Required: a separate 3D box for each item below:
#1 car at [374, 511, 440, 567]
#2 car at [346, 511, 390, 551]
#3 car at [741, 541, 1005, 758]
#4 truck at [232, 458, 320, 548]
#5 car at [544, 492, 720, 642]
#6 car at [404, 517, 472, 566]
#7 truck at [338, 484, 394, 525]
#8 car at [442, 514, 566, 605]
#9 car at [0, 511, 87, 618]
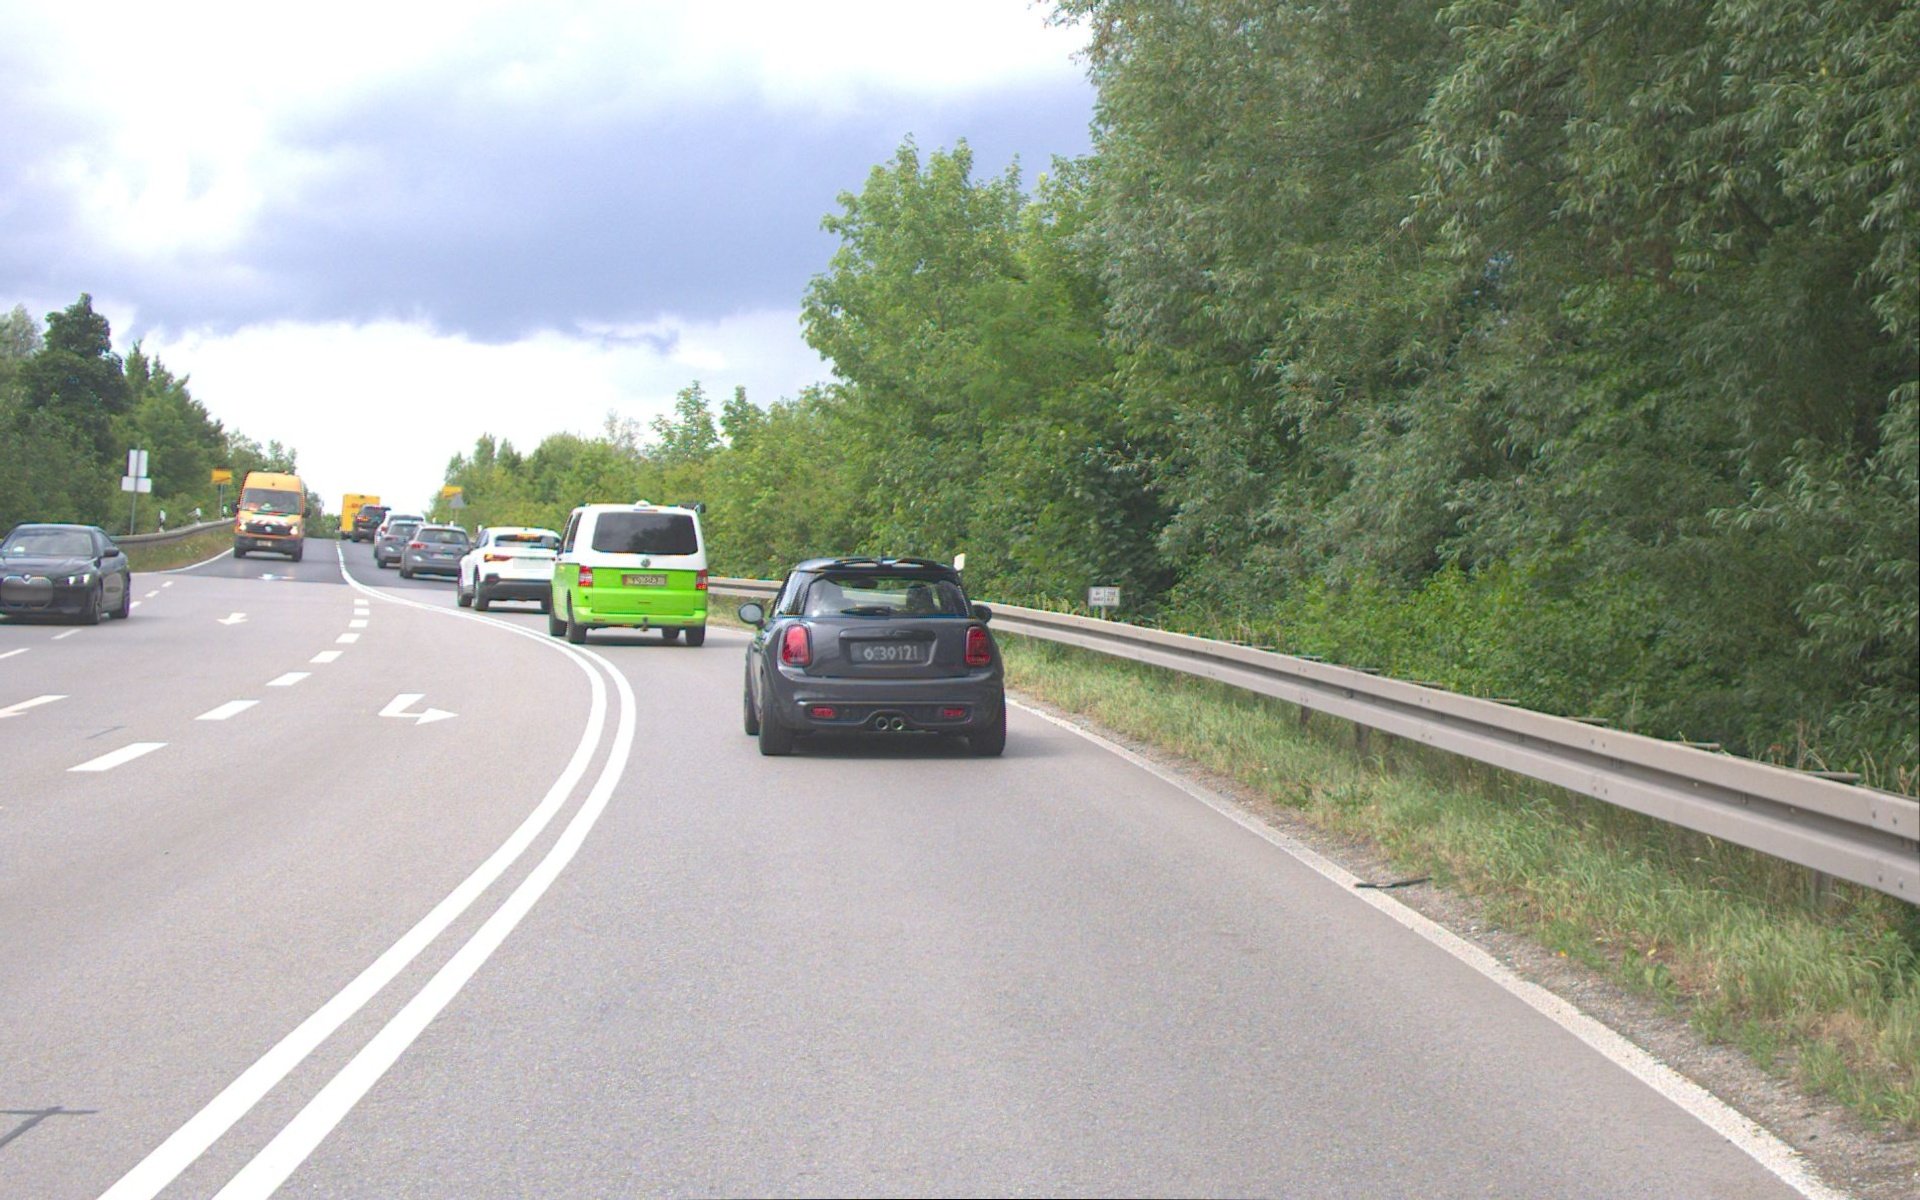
[{"bbox_3d":[-16.646,-1.835,103.395,1.879,1.612,4.001,0,1,-10],"label":"car"},{"bbox_3d":[-27.647,-3.211,160.533,1.993,1.792,4.001,1,1,-10],"label":"car"},{"bbox_3d":[-0.724,0.308,25.646,1.732,1.451,4.001,1,1,-4],"label":"car"},{"bbox_3d":[-20.832,-2.977,104.879,2.315,2.592,6.025,1,2,-9],"label":"truck"},{"bbox_3d":[-4.675,-0.493,48.504,2.021,2.006,4.001,0,1,-12],"label":"car"},{"bbox_3d":[-13.483,-1.506,88.934,1.694,1.218,4.001,0,1,-8],"label":"car"},{"bbox_3d":[-36.647,-5.902,212.355,2.909,2.364,10.454,1,1,-7],"label":"truck"},{"bbox_3d":[-8.498,-0.779,63.789,1.987,1.613,4.155,0,2,-11],"label":"car"},{"bbox_3d":[-13.977,-0.564,51.517,1.717,1.493,4.550,0,2,-14],"label":"car"}]
